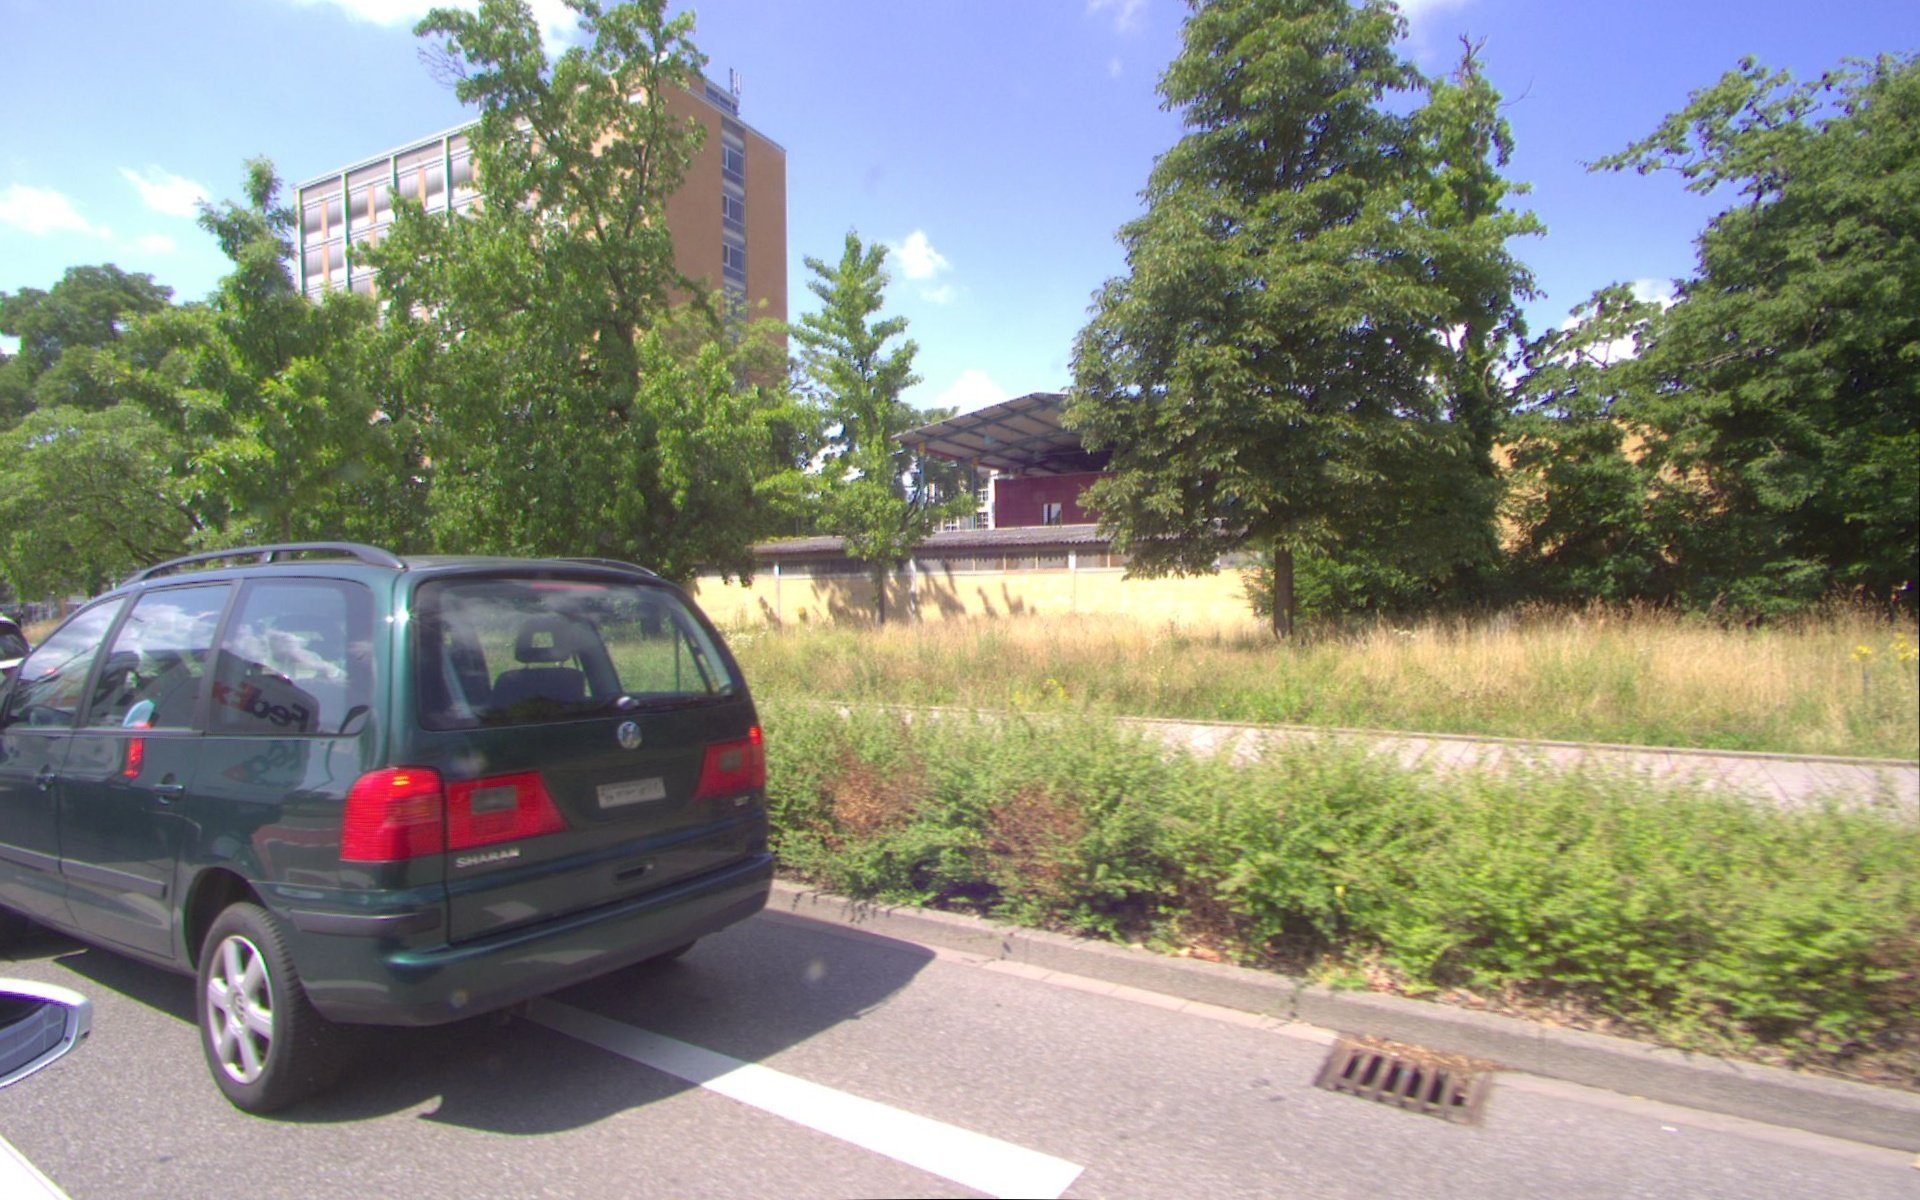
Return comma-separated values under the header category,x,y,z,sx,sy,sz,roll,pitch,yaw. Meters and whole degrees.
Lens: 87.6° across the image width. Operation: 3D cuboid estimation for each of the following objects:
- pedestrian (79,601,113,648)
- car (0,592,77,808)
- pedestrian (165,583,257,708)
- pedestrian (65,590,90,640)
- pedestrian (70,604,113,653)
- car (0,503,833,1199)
category,x,y,z,sx,sy,sz,roll,pitch,yaw
pedestrian,-37.631,1.053,43.643,0.726,2.040,0.847,0,1,0
car,-9.466,0.800,8.696,3.945,1.710,1.793,0,0,34
pedestrian,-11.897,0.706,15.919,0.762,1.917,0.948,0,0,32
pedestrian,-37.459,0.630,42.509,0.733,2.085,0.840,0,1,-41
pedestrian,-28.284,0.918,32.622,0.823,1.559,0.843,0,1,32
car,-2.809,0.668,4.379,4.325,1.757,1.809,0,-1,32
